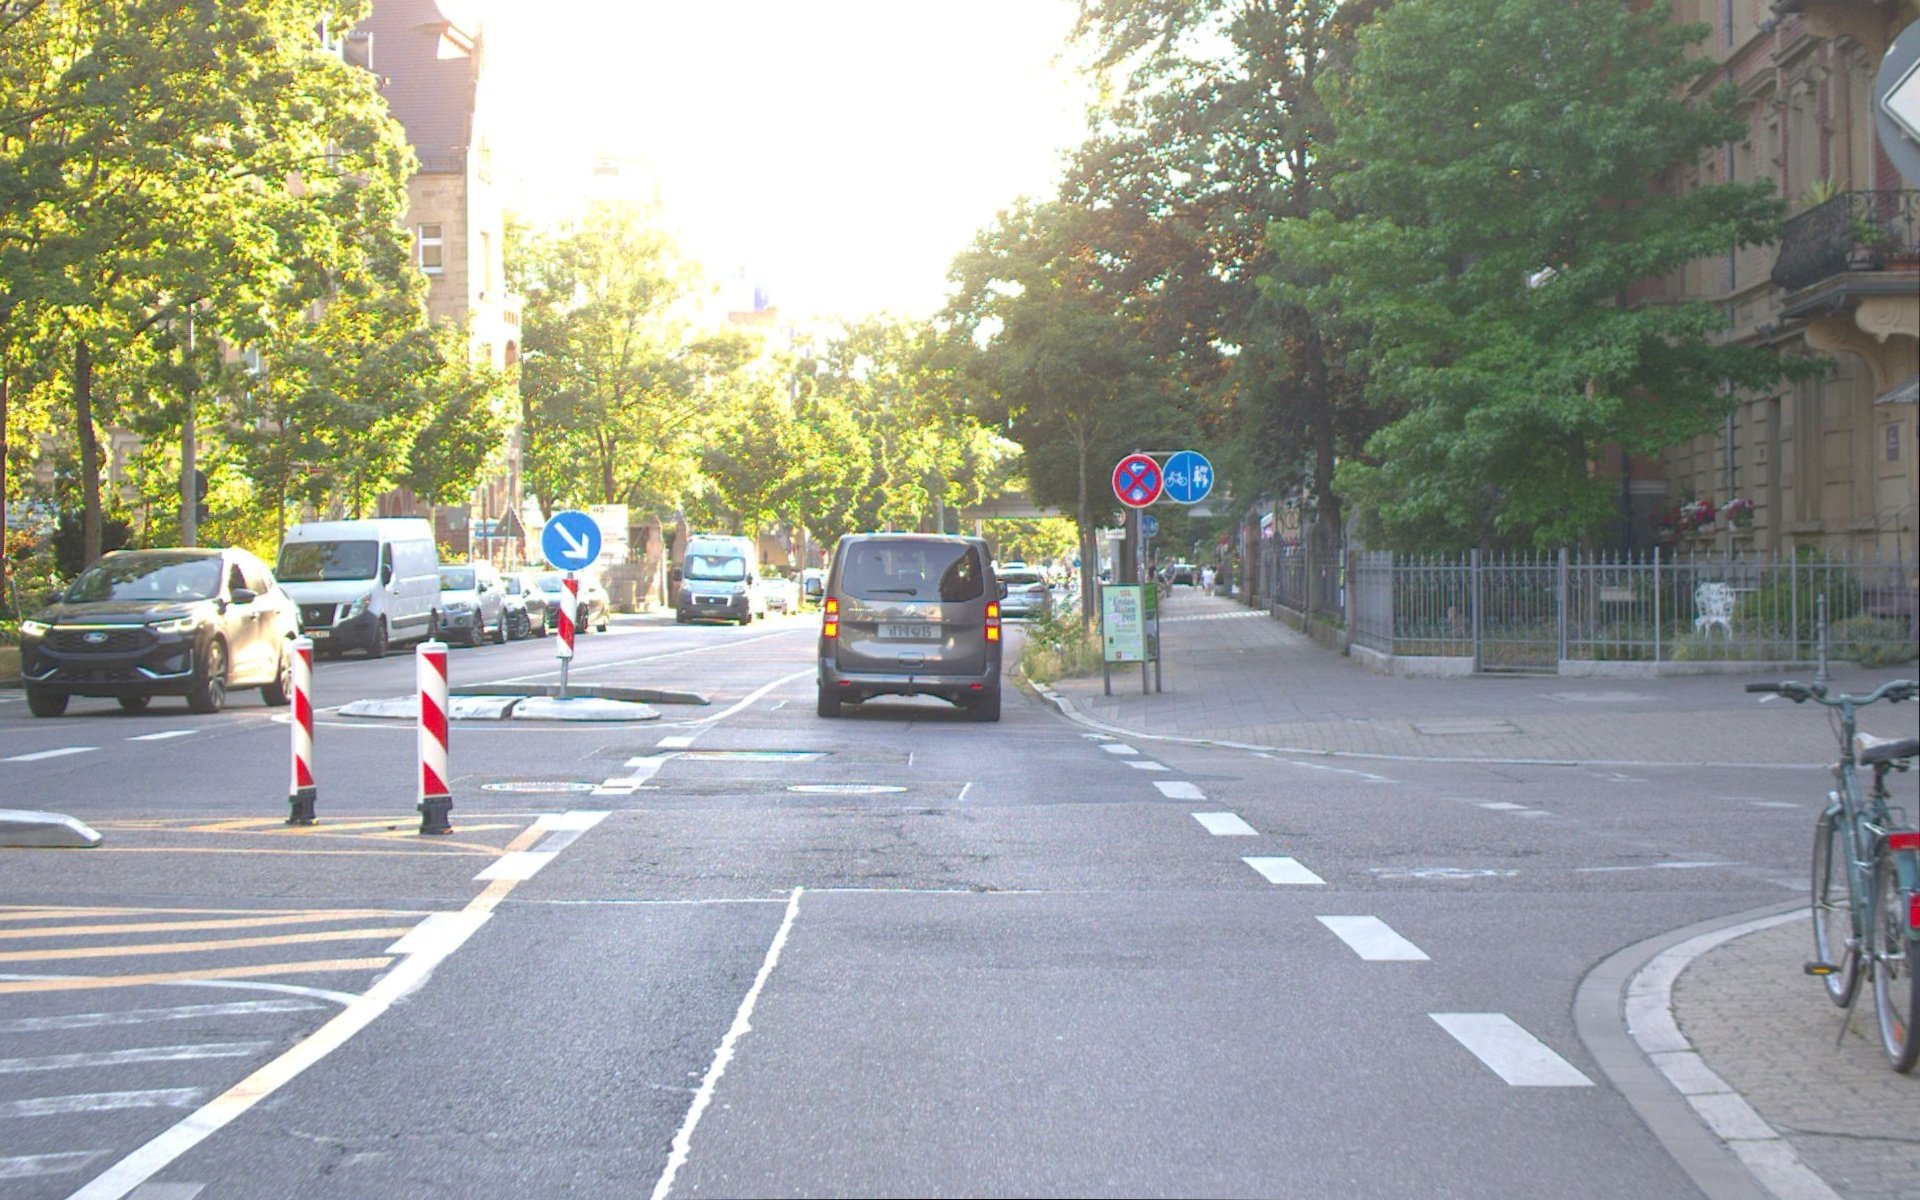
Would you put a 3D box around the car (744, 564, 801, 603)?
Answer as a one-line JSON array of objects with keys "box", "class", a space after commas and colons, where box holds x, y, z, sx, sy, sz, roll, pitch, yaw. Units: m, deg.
[{"box": [-6.314, -0.574, 115.796, 1.536, 1.244, 3.614, 2, 1, 2], "class": "car"}]

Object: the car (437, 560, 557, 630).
[{"box": [-9.976, -0.129, 74.401, 1.736, 1.440, 4.625, 0, 1, 3], "class": "car"}]

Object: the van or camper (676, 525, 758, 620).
[{"box": [-7.120, -0.829, 101.413, 1.993, 2.659, 6.039, 2, 1, -1], "class": "van or camper"}]

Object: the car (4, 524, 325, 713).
[{"box": [-7.954, 0.157, 34.819, 1.877, 1.700, 4.567, -3, 0, 3], "class": "car"}]

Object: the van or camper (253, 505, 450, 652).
[{"box": [-10.796, -0.408, 61.515, 2.091, 2.460, 6.305, -1, 1, 3], "class": "van or camper"}]

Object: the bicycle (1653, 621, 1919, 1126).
[{"box": [2.628, 0.728, 10.168, 0.565, 1.295, 2.265, -4, -1, -1], "class": "bicycle"}]

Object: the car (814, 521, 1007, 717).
[{"box": [-0.480, 0.158, 35.825, 1.887, 1.918, 3.839, -1, 1, 0], "class": "car"}]

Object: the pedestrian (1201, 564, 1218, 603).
[{"box": [10.435, -0.705, 143.966, 0.644, 1.627, 0.656, 2, 1, 4], "class": "pedestrian"}]

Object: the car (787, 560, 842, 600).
[{"box": [-5.511, -0.786, 130.622, 1.697, 1.446, 4.000, 2, 1, 2], "class": "car"}]

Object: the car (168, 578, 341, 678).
[{"box": [-10.939, 0.410, 53.587, 1.628, 1.424, 4.242, -1, 1, 3], "class": "car"}]

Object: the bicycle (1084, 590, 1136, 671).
[{"box": [2.264, 0.455, 52.064, 0.646, 1.163, 1.931, 2, 1, -1], "class": "bicycle"}]

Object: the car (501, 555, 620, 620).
[{"box": [-9.365, -0.318, 81.029, 1.994, 1.478, 4.829, 0, 1, 3], "class": "car"}]

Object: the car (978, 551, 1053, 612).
[{"box": [1.555, -0.531, 94.536, 1.993, 1.628, 4.000, 0, 1, 2], "class": "car"}]

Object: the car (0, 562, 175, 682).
[{"box": [-11.897, 0.261, 45.666, 1.624, 1.501, 4.543, -1, 1, 4], "class": "car"}]

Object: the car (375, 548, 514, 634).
[{"box": [-10.278, -0.207, 68.862, 1.866, 1.639, 4.571, -1, 1, 3], "class": "car"}]

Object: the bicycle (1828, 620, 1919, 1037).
[{"box": [3.206, 0.689, 10.183, 0.565, 1.271, 2.265, -4, -1, -1], "class": "bicycle"}]
